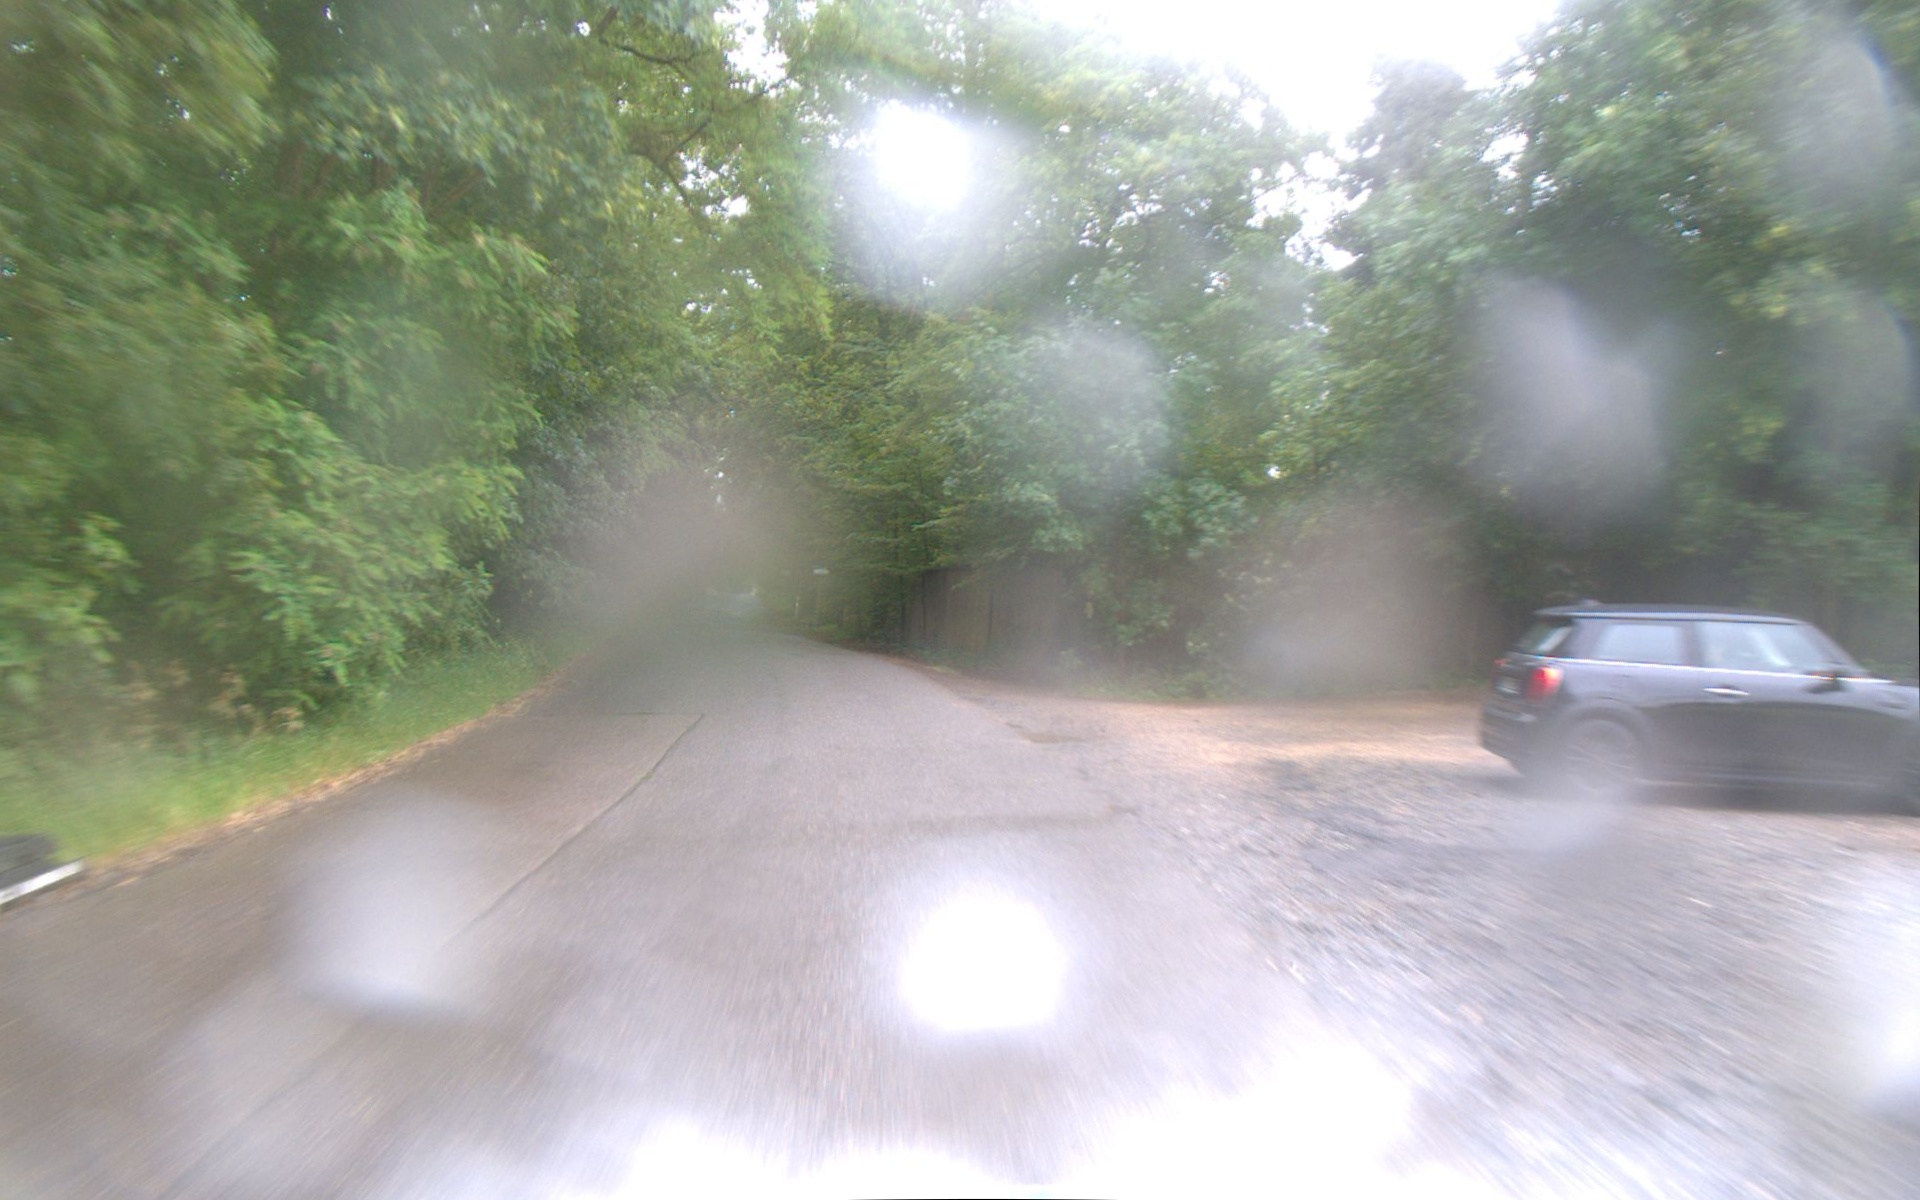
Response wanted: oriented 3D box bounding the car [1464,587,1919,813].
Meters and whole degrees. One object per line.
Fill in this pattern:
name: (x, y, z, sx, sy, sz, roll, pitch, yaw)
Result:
car: (5.927, 0.730, 12.617, 3.630, 1.461, 1.707, 3, 0, 3)
